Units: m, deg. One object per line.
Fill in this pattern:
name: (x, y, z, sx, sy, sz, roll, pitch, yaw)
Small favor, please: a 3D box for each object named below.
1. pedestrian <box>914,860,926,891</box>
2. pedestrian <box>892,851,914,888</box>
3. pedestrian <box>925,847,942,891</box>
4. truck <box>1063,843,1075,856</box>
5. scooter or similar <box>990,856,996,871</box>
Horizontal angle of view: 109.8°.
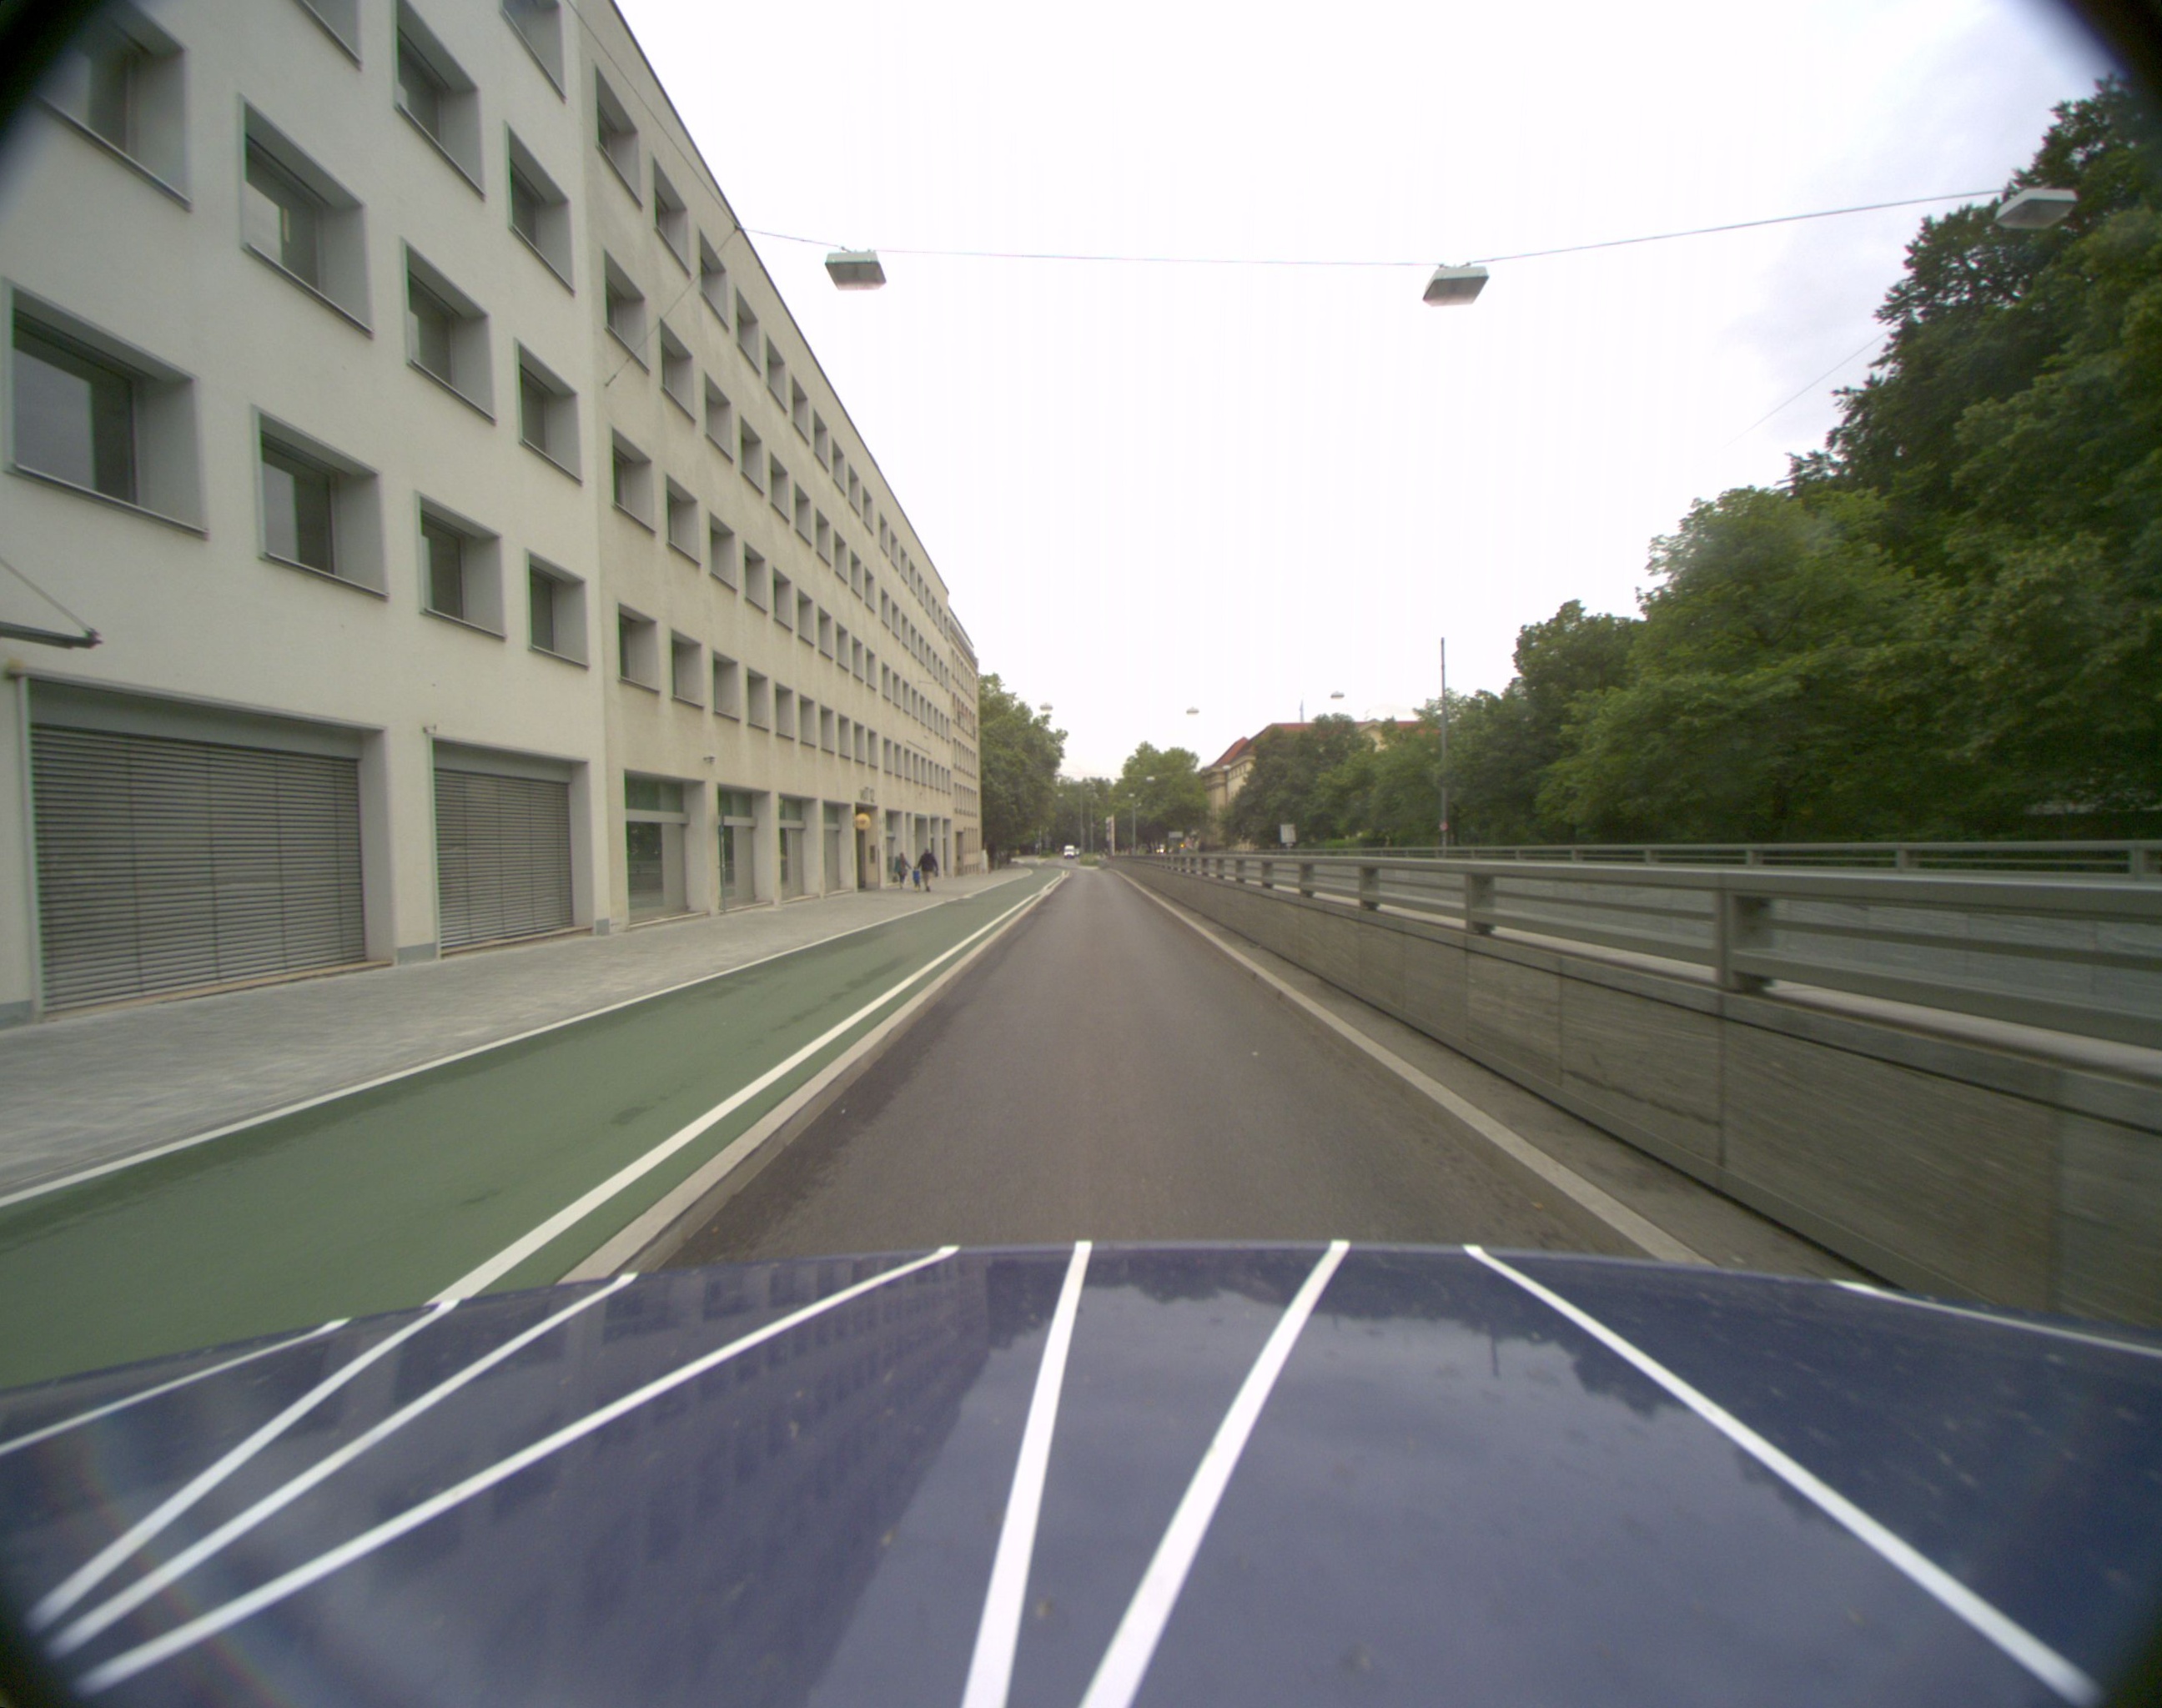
pedestrian: (-6.735, 0.897, 31.773, 0.368, 1.239, 0.470, 2, 1, 1)
pedestrian: (-7.860, 0.680, 33.587, 0.754, 1.610, 0.704, 2, 1, 1)
pedestrian: (-6.229, 0.618, 32.126, 0.514, 1.825, 0.602, 2, 1, 1)
truck: (-2.489, -0.902, 155.618, 2.058, 2.625, 4.412, -2, 1, 3)
scooter or similar: (-7.399, 0.785, 64.152, 0.387, 1.265, 1.119, 1, 2, 0)
